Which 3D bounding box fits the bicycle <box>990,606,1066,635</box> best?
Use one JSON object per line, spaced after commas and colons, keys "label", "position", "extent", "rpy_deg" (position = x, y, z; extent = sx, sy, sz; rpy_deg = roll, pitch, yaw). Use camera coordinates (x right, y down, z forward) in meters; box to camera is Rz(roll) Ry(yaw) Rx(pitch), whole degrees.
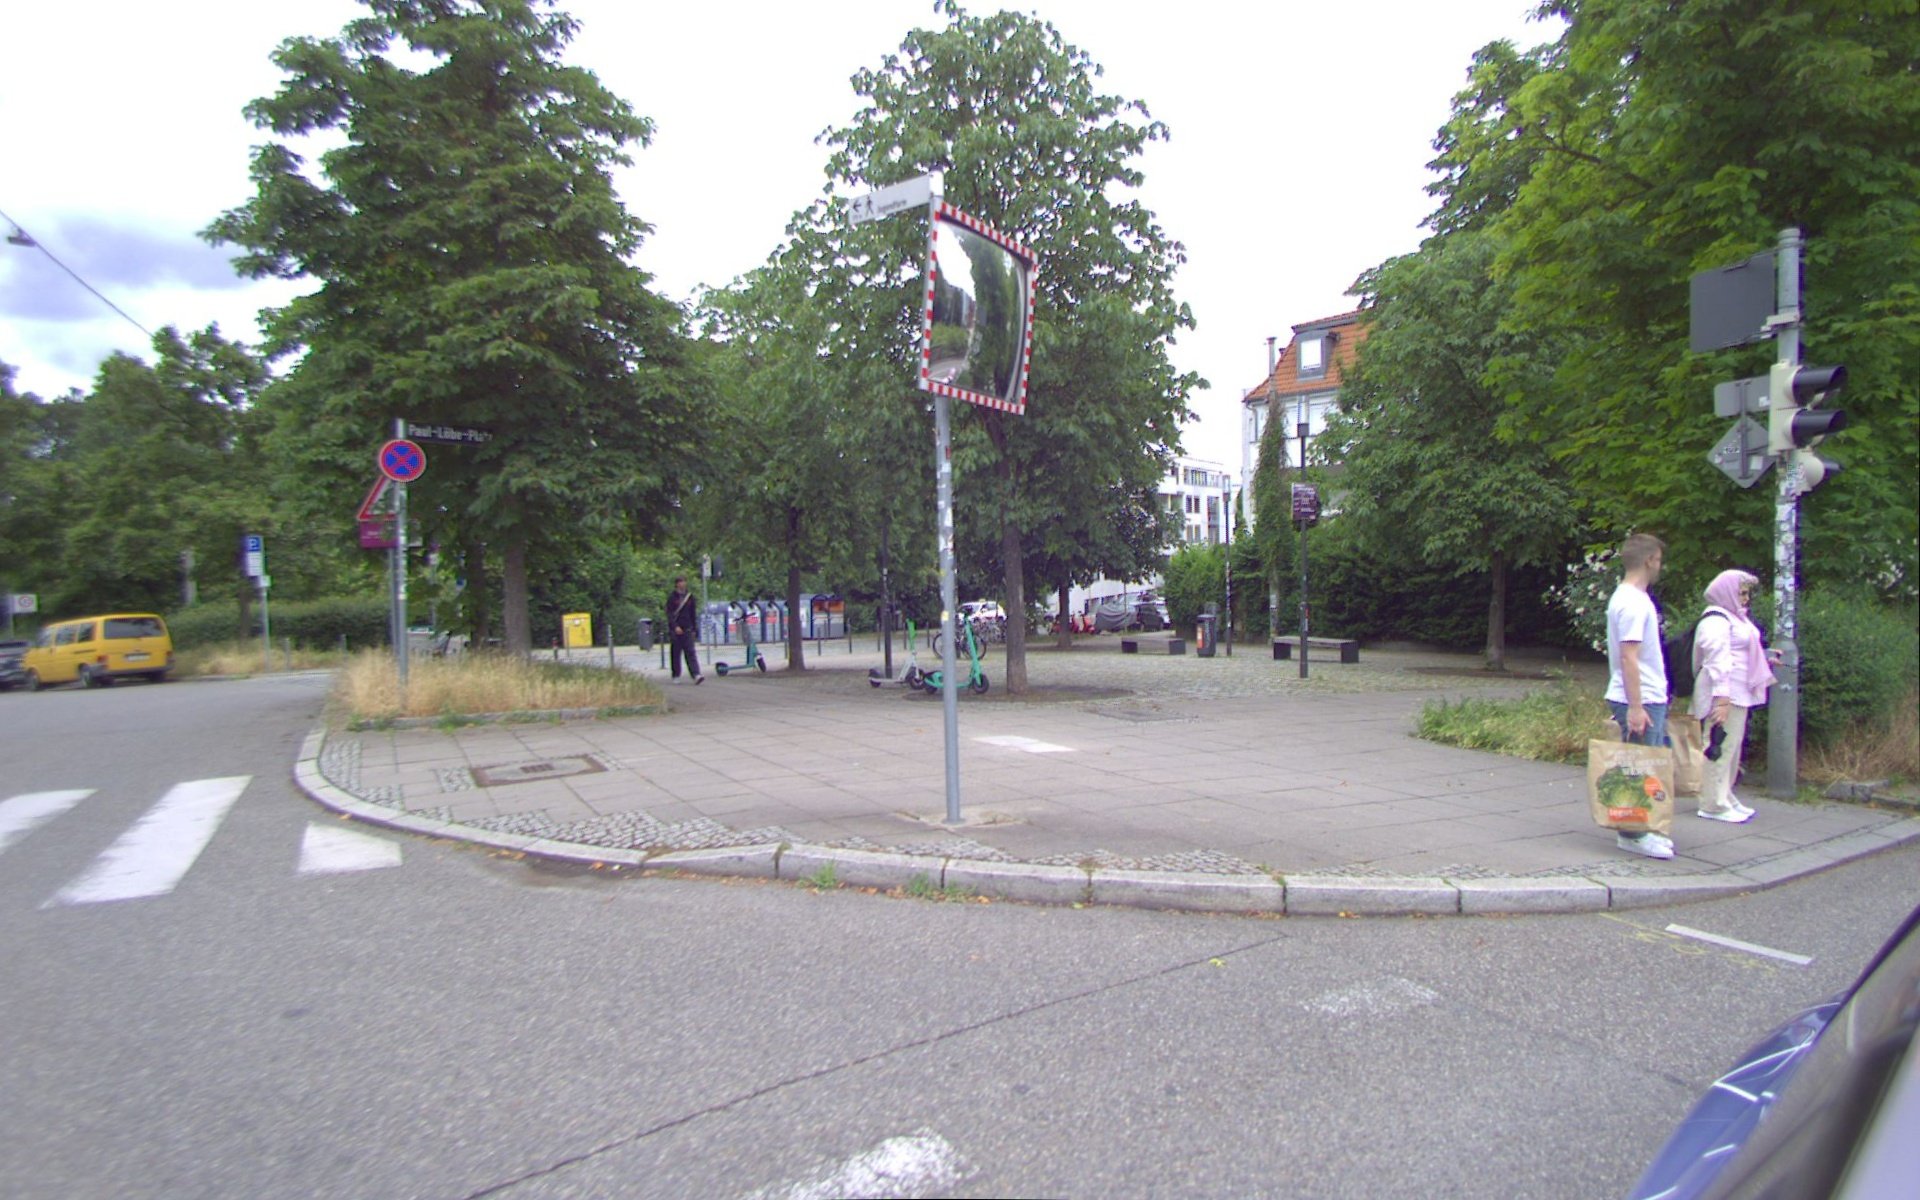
{"label": "bicycle", "position": [2.749, 0.826, 40.997], "extent": [2.892, 1.160, 0.925], "rpy_deg": [0, 0, -17]}

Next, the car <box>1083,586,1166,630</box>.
{"label": "car", "position": [7.973, 0.368, 49.025], "extent": [3.737, 2.039, 1.989], "rpy_deg": [1, 0, 18]}

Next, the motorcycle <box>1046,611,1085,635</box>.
{"label": "motorcycle", "position": [4.755, 1.031, 45.525], "extent": [0.751, 1.046, 2.027], "rpy_deg": [1, 0, 38]}

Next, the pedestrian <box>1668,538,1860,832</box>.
{"label": "pedestrian", "position": [5.075, 0.493, 6.403], "extent": [0.712, 1.733, 0.618], "rpy_deg": [1, 3, -28]}

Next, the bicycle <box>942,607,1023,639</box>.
{"label": "bicycle", "position": [0.862, 0.873, 38.130], "extent": [2.892, 1.160, 0.925], "rpy_deg": [0, 0, -17]}

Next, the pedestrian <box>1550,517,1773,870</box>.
{"label": "pedestrian", "position": [3.710, 0.447, 5.373], "extent": [0.712, 1.733, 0.618], "rpy_deg": [1, 3, -28]}

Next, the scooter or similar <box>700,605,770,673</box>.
{"label": "scooter or similar", "position": [-4.537, 0.780, 20.497], "extent": [1.293, 1.263, 0.465], "rpy_deg": [-4, 0, -9]}

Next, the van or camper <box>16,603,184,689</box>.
{"label": "van or camper", "position": [-23.737, 1.272, 27.914], "extent": [4.425, 2.002, 1.873], "rpy_deg": [-4, 0, 26]}

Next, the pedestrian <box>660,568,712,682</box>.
{"label": "pedestrian", "position": [-4.727, 0.413, 17.501], "extent": [0.839, 1.910, 0.967], "rpy_deg": [0, 0, -13]}

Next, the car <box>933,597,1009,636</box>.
{"label": "car", "position": [0.650, 0.814, 53.042], "extent": [1.983, 1.928, 4.664], "rpy_deg": [0, 0, 30]}

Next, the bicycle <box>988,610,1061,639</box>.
{"label": "bicycle", "position": [2.688, 0.998, 42.051], "extent": [2.892, 1.160, 0.925], "rpy_deg": [0, 0, -17]}

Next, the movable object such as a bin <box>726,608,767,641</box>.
{"label": "movable object such as a bin", "position": [-7.918, 0.908, 37.437], "extent": [1.287, 1.180, 1.064], "rpy_deg": [0, 0, -23]}

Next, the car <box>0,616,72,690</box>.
{"label": "car", "position": [-29.105, 1.552, 30.551], "extent": [3.956, 2.039, 1.984], "rpy_deg": [1, 0, 24]}

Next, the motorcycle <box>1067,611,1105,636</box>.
{"label": "motorcycle", "position": [5.636, 1.023, 45.192], "extent": [0.751, 1.046, 2.027], "rpy_deg": [1, 0, 38]}

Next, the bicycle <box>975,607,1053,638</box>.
{"label": "bicycle", "position": [2.122, 0.886, 39.619], "extent": [2.892, 1.160, 0.925], "rpy_deg": [0, 0, -17]}

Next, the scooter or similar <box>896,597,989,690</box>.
{"label": "scooter or similar", "position": [-0.254, 0.589, 14.032], "extent": [1.241, 1.242, 0.494], "rpy_deg": [-1, -1, 38]}

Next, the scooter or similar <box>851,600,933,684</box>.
{"label": "scooter or similar", "position": [-1.059, 0.639, 15.619], "extent": [1.241, 1.242, 0.494], "rpy_deg": [-1, -1, 38]}
